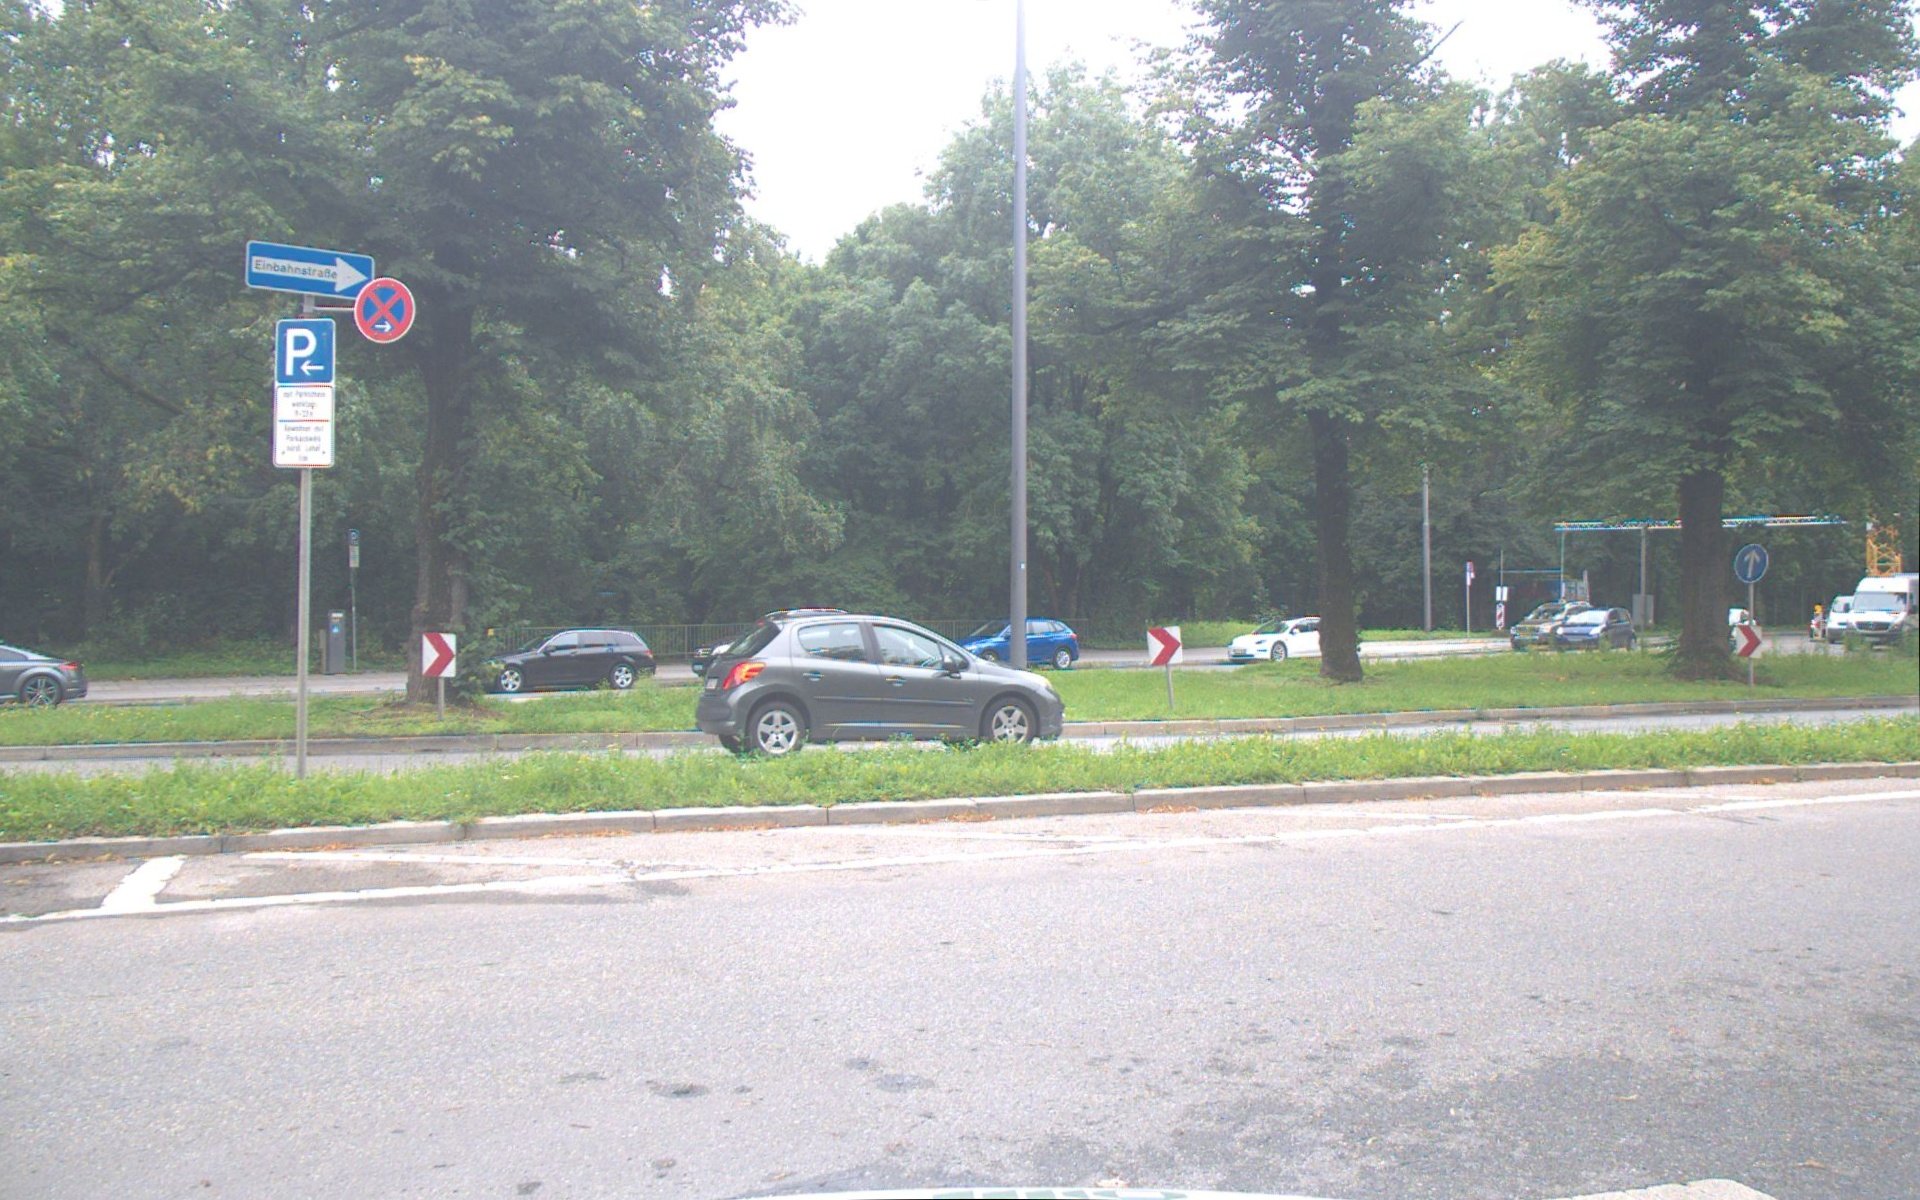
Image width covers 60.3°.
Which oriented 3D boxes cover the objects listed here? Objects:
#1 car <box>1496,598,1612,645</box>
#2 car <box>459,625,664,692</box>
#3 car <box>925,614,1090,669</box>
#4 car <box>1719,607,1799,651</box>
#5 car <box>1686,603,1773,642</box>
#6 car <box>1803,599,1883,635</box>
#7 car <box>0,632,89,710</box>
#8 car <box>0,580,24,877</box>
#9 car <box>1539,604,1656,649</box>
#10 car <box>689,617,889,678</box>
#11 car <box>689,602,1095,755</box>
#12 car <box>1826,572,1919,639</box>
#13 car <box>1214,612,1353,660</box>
[{"bbox_3d":[22.720,0.830,63.199,4.599,1.748,1.973,0,-2,-37],"label":"car"},{"bbox_3d":[-9.291,1.345,38.665,4.270,1.472,1.974,0,-2,-36],"label":"car"},{"bbox_3d":[1.343,1.152,46.273,4.376,1.472,1.973,0,-2,-37],"label":"car"},{"bbox_3d":[35.745,1.289,73.923,3.961,1.907,1.727,0,-1,-40],"label":"car"},{"bbox_3d":[30.979,0.912,66.578,4.204,1.472,1.803,1,-2,-44],"label":"car"},{"bbox_3d":[37.466,0.718,70.149,1.866,1.472,4.268,-1,-1,45],"label":"car"},{"bbox_3d":[-19.345,1.381,31.904,4.463,1.472,1.980,0,-2,-30],"label":"car"},{"bbox_3d":[-7.206,0.680,7.688,4.686,1.592,1.893,0,-1,-21],"label":"car"},{"bbox_3d":[21.390,0.872,55.444,3.991,1.472,1.872,0,-1,-37],"label":"car"},{"bbox_3d":[-4.300,1.181,41.906,4.716,1.472,1.974,0,-2,-36],"label":"car"},{"bbox_3d":[-0.733,0.774,17.610,4.002,1.486,1.754,0,-1,-21],"label":"car"},{"bbox_3d":[33.463,0.221,59.379,5.074,2.309,2.278,0,-1,-37],"label":"car"},{"bbox_3d":[10.352,1.146,52.875,4.376,1.472,1.973,0,-2,-37],"label":"car"}]
